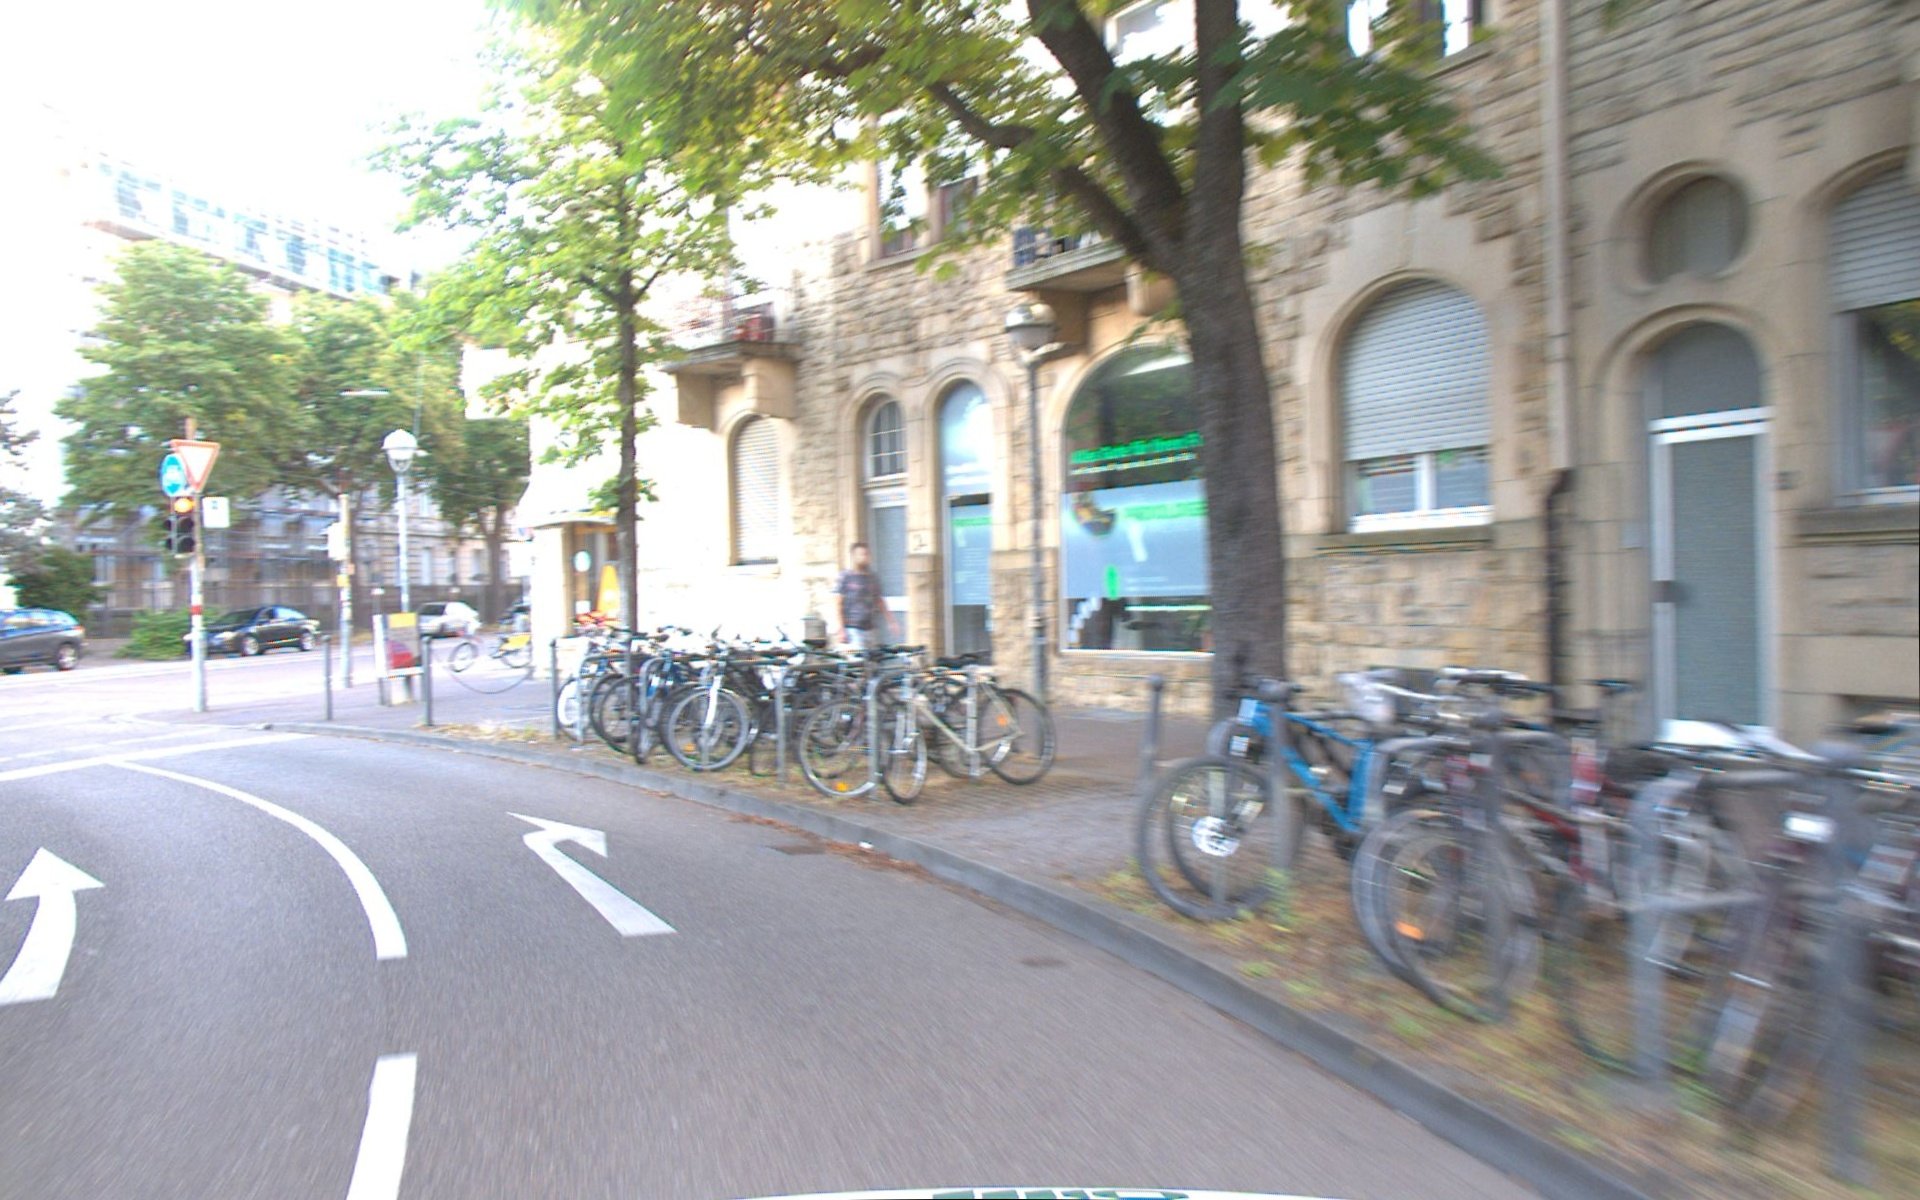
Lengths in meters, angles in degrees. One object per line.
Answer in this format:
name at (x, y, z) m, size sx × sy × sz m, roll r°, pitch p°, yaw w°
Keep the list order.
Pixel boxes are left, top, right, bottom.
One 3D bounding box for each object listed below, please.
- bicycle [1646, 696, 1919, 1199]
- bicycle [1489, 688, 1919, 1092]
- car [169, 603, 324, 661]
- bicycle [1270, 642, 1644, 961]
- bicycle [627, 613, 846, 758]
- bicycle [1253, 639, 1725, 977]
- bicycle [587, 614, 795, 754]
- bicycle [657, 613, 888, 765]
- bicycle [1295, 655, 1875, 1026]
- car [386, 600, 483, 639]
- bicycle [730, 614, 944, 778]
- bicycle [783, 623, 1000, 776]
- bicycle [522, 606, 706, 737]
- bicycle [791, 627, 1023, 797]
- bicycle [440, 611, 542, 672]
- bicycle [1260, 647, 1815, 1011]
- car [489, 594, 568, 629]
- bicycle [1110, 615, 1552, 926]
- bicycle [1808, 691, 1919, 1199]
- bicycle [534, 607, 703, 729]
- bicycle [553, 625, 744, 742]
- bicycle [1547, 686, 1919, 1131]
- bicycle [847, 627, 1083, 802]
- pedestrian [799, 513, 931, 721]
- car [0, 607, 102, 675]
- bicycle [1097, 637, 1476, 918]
bicycle at (2.766, 0.800, 4.257) m, size 1.882 × 1.079 × 0.533 m, roll -2°, pitch 0°, yaw -14°
bicycle at (2.529, 0.818, 4.995) m, size 1.818 × 1.017 × 0.417 m, roll -2°, pitch 0°, yaw -15°
car at (-21.359, 0.936, 49.748) m, size 1.902 × 1.536 × 4.636 m, roll -2°, pitch 1°, yaw 12°
bicycle at (2.172, 0.787, 7.093) m, size 1.837 × 1.123 × 0.566 m, roll -2°, pitch 1°, yaw -38°
bicycle at (-2.022, 0.747, 15.077) m, size 1.866 × 1.183 × 0.634 m, roll -2°, pitch 0°, yaw -31°
bicycle at (2.095, 0.778, 6.534) m, size 1.818 × 1.164 × 0.417 m, roll -2°, pitch 0°, yaw -15°
bicycle at (-2.519, 0.759, 15.626) m, size 1.875 × 1.183 × 0.631 m, roll -2°, pitch 1°, yaw -42°
bicycle at (-1.620, 0.741, 14.439) m, size 1.866 × 1.183 × 0.697 m, roll -2°, pitch 1°, yaw -31°
bicycle at (2.192, 0.828, 5.859) m, size 1.818 × 1.109 × 0.418 m, roll -2°, pitch -18°, yaw -15°
car at (-21.718, 0.783, 68.614) m, size 1.961 × 1.451 × 4.636 m, roll -2°, pitch 1°, yaw 8°
bicycle at (-0.982, 0.744, 13.238) m, size 1.648 × 1.147 × 0.483 m, roll -2°, pitch 7°, yaw -24°
bicycle at (-0.534, 0.764, 13.126) m, size 1.649 × 1.097 × 0.482 m, roll -2°, pitch 0°, yaw -25°
bicycle at (-3.641, 0.724, 17.510) m, size 1.778 × 1.258 × 0.689 m, roll -2°, pitch 1°, yaw -42°
bicycle at (-0.367, 0.783, 12.040) m, size 1.654 × 1.097 × 0.481 m, roll -2°, pitch 0°, yaw -33°
bicycle at (-9.482, 0.825, 33.445) m, size 1.850 × 1.150 × 0.725 m, roll -2°, pitch 0°, yaw -27°
bicycle at (2.115, 0.825, 6.123) m, size 1.818 × 1.147 × 0.418 m, roll -2°, pitch -18°, yaw -15°
car at (-20.473, 0.520, 78.637) m, size 1.902 × 1.508 × 4.172 m, roll -2°, pitch 1°, yaw 12°
bicycle at (1.662, 0.742, 7.442) m, size 1.848 × 1.238 × 0.490 m, roll -2°, pitch -5°, yaw -15°
bicycle at (2.870, 0.758, 3.725) m, size 1.816 × 1.136 × 0.418 m, roll -2°, pitch 0°, yaw -11°
bicycle at (-3.835, 0.737, 18.669) m, size 1.779 × 1.258 × 0.641 m, roll -2°, pitch 1°, yaw -43°
bicycle at (-3.147, 0.814, 16.809) m, size 1.791 × 1.056 × 0.689 m, roll -2°, pitch 1°, yaw -42°
bicycle at (2.605, 0.808, 4.715) m, size 1.818 × 1.070 × 0.417 m, roll -2°, pitch 0°, yaw -15°
bicycle at (0.051, 0.777, 11.703) m, size 1.654 × 1.097 × 0.481 m, roll -2°, pitch 0°, yaw -33°
pedestrian at (-1.022, 0.156, 17.682) m, size 0.999 × 2.122 × 1.050 m, roll -3°, pitch 1°, yaw -29°
car at (-23.252, 1.004, 40.133) m, size 1.902 × 1.536 × 4.424 m, roll -2°, pitch 1°, yaw 12°
bicycle at (1.577, 0.792, 7.870) m, size 1.857 × 1.159 × 0.488 m, roll 0°, pitch 3°, yaw -28°
